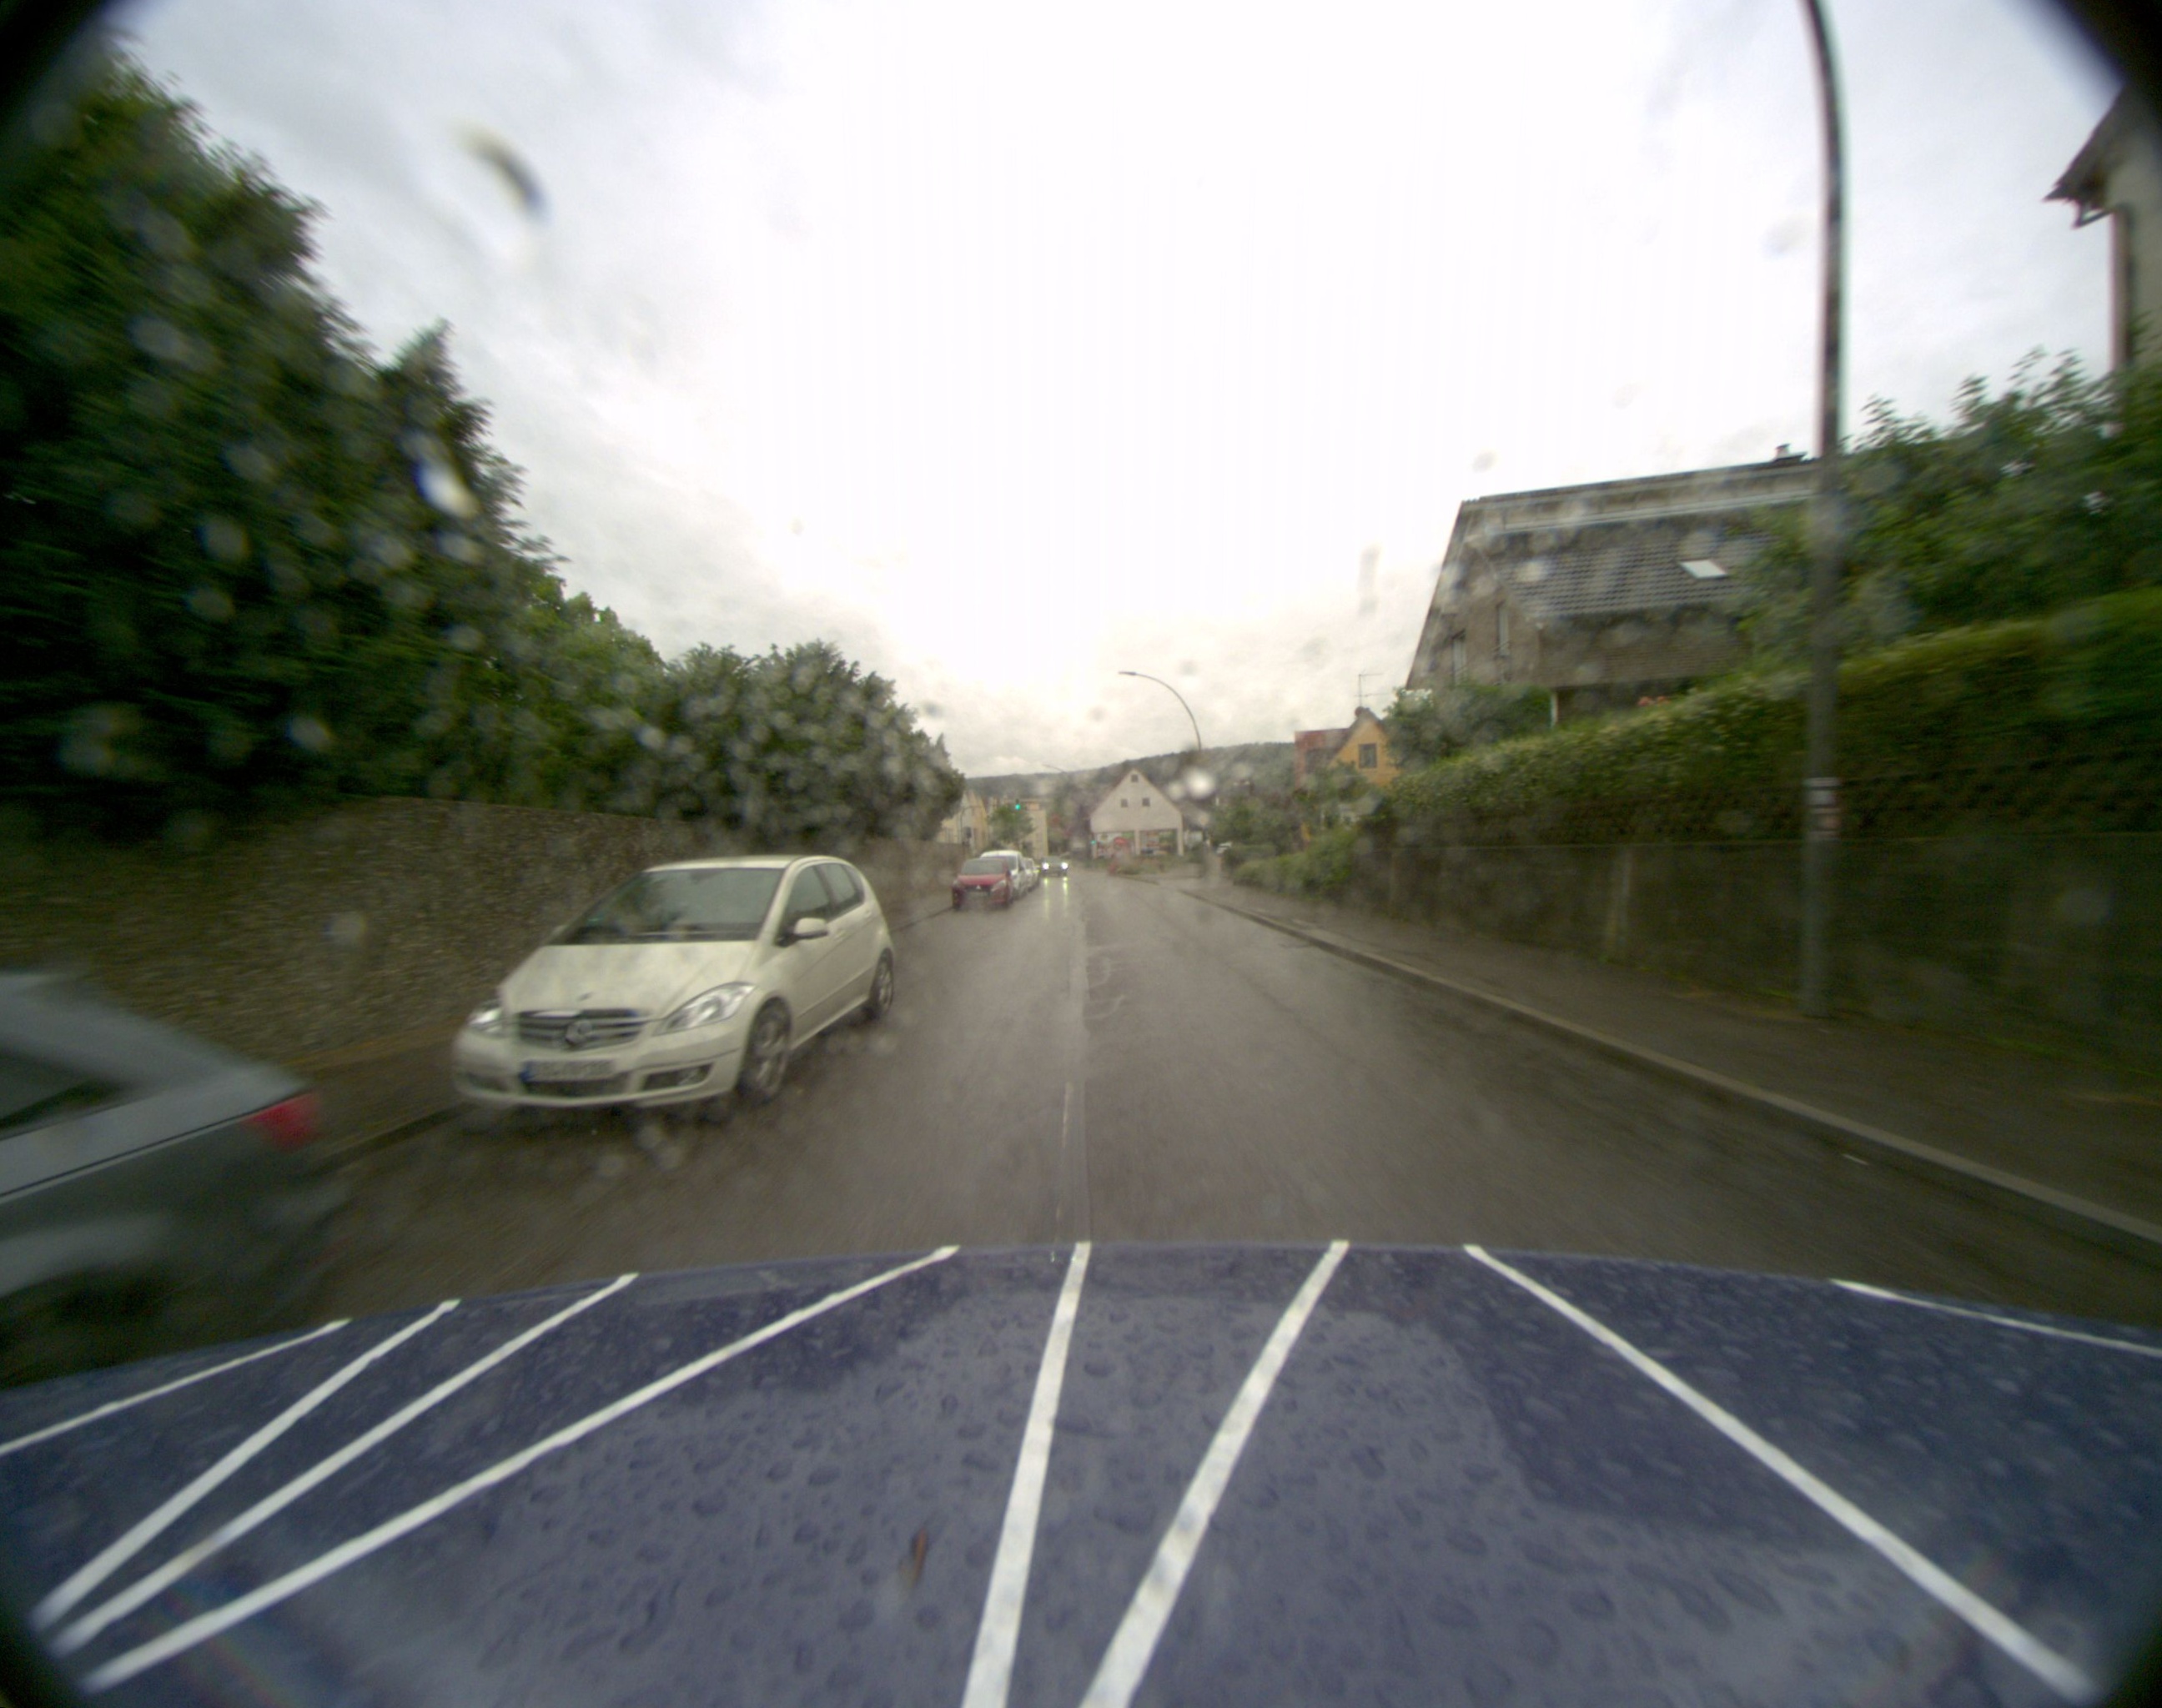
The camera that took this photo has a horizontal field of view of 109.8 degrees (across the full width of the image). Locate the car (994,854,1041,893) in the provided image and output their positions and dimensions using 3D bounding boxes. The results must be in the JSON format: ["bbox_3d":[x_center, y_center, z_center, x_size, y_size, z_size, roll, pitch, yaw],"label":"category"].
[{"bbox_3d":[-2.767,0.842,34.057,1.650,1.454,3.999,-3,2,1],"label":"car"}]

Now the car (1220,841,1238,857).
[{"bbox_3d":[18.464,-0.627,94.488,1.755,1.878,3.744,-1,0,17],"label":"car"}]

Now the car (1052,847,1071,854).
[{"bbox_3d":[-4.417,-0.824,171.964,1.875,1.368,4.007,-1,2,42],"label":"car"}]

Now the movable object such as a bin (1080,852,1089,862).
[{"bbox_3d":[0.407,0.311,83.200,0.899,1.072,0.651,-4,2,0],"label":"movable object such as a bin"}]

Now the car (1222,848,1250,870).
[{"bbox_3d":[11.779,0.338,57.579,1.751,1.553,4.023,-1,0,15],"label":"car"}]

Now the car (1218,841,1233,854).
[{"bbox_3d":[17.082,-0.755,89.675,1.415,1.421,3.495,-2,2,16],"label":"car"}]

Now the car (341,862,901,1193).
[{"bbox_3d":[-2.850,0.931,5.887,1.819,1.564,3.880,-2,1,2],"label":"car"}]

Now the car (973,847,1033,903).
[{"bbox_3d":[-2.794,0.706,28.084,1.641,1.731,4.134,-3,2,1],"label":"car"}]

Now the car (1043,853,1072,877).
[{"bbox_3d":[-1.770,0.806,56.667,1.999,1.521,3.998,-3,2,-3],"label":"car"}]

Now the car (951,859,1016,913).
[{"bbox_3d":[-2.891,0.920,23.232,1.588,1.446,3.663,-2,0,-2],"label":"car"}]

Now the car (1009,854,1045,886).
[{"bbox_3d":[-2.735,0.784,39.086,1.616,1.472,4.037,-3,1,-2],"label":"car"}]
